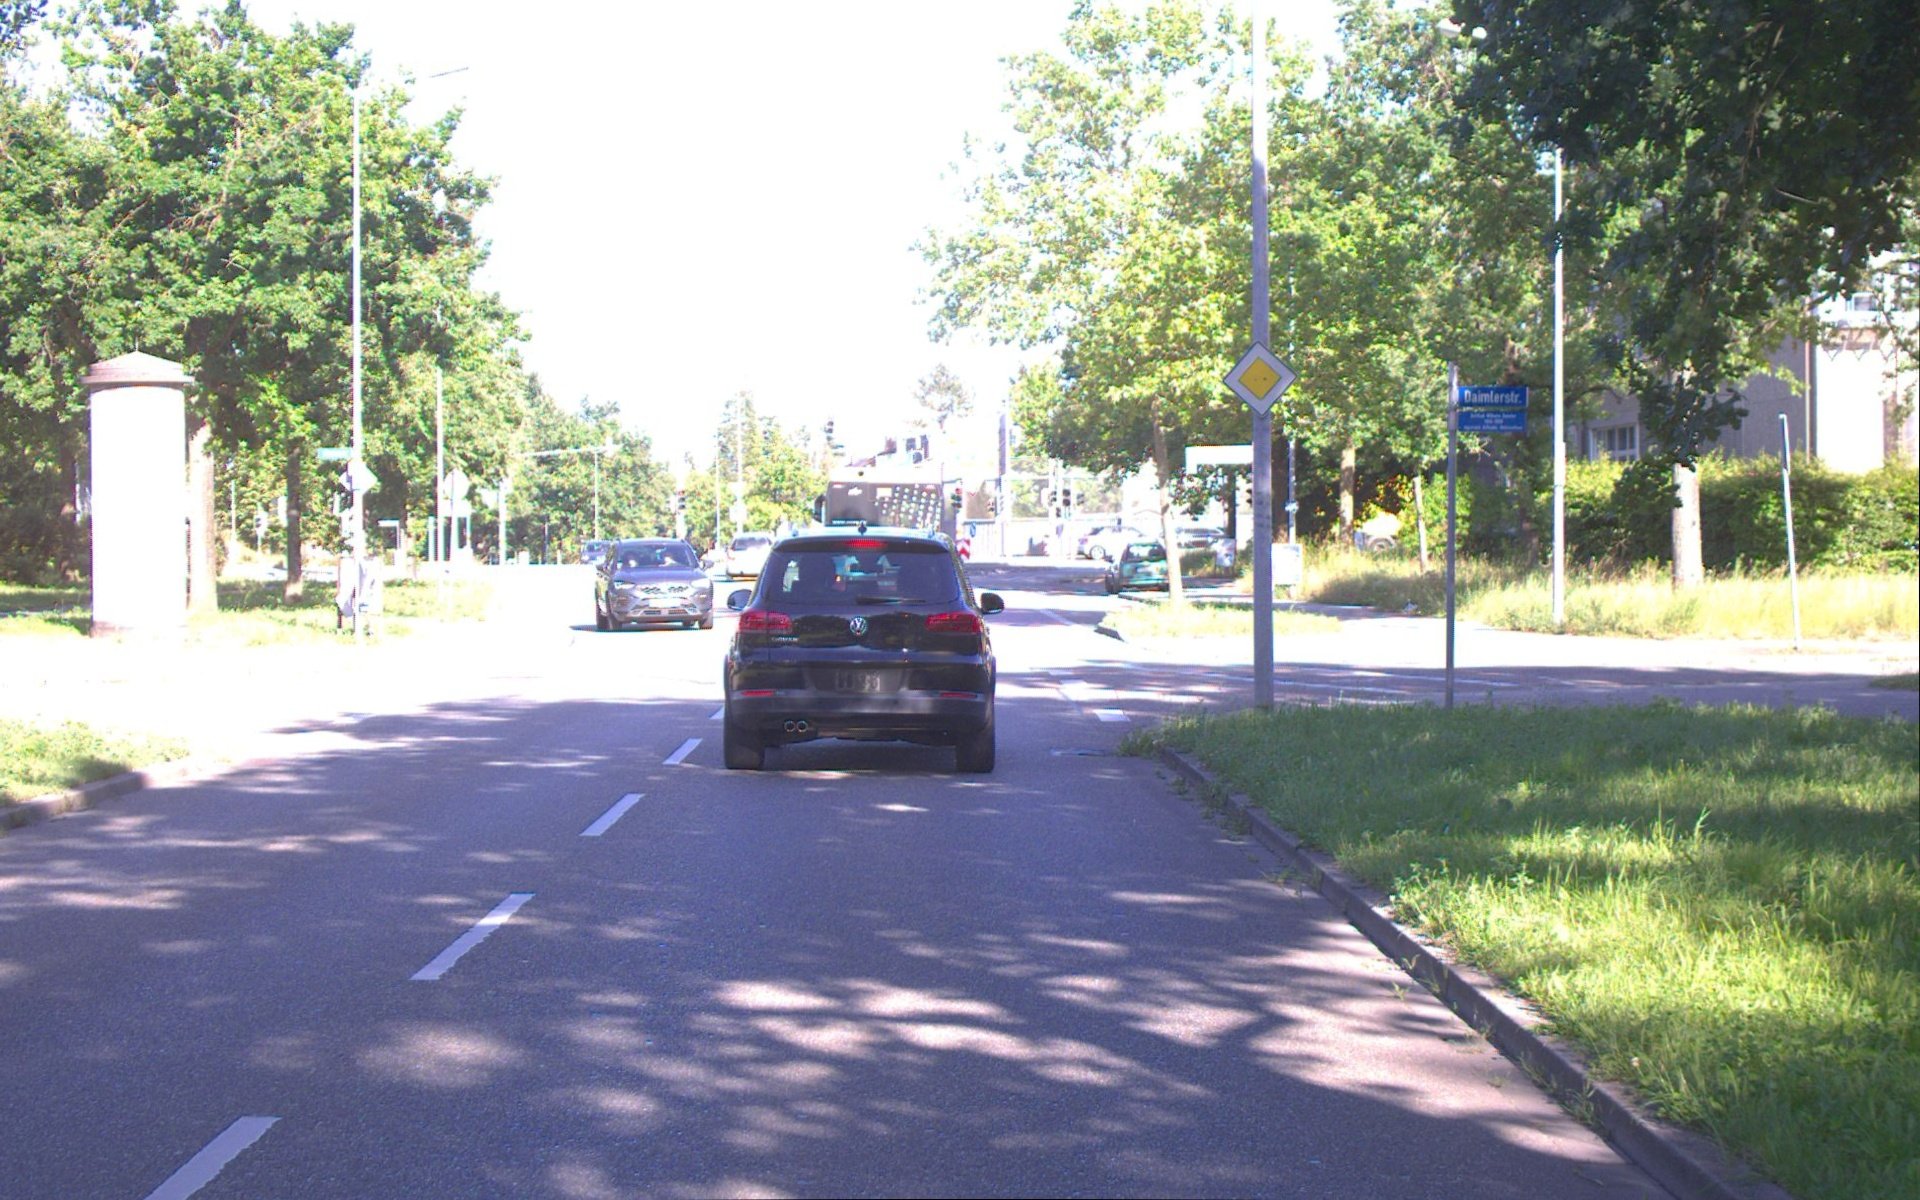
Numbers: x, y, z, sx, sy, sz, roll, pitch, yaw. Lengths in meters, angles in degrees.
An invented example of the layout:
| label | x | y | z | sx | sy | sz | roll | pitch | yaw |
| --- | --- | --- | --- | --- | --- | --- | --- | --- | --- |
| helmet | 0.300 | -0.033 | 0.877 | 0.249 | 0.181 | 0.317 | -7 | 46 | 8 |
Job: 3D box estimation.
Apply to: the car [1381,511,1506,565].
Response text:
| label | x | y | z | sx | sy | sz | roll | pitch | yaw |
| --- | --- | --- | --- | --- | --- | --- | --- | --- | --- |
| car | 19.636 | -2.526 | 139.671 | 4.700 | 2.116 | 1.942 | -1 | 1 | -6 |

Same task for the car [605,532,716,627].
| label | x | y | z | sx | sy | sz | roll | pitch | yaw |
| --- | --- | --- | --- | --- | --- | --- | --- | --- | --- |
| car | -5.207 | -0.362 | 60.173 | 1.753 | 1.590 | 4.299 | 1 | 0 | -3 |

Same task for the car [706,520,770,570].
| label | x | y | z | sx | sy | sz | roll | pitch | yaw |
| --- | --- | --- | --- | --- | --- | --- | --- | --- | --- |
| car | -7.293 | -1.787 | 112.629 | 1.753 | 1.615 | 4.034 | 0 | 1 | -9 |

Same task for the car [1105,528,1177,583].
| label | x | y | z | sx | sy | sz | roll | pitch | yaw |
| --- | --- | --- | --- | --- | --- | --- | --- | --- | --- |
| car | 4.963 | -1.228 | 94.584 | 1.592 | 1.424 | 4.204 | -2 | 1 | -2 |

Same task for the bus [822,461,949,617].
| label | x | y | z | sx | sy | sz | roll | pitch | yaw |
| --- | --- | --- | --- | --- | --- | --- | --- | --- | --- |
| bus | -1.850 | -1.456 | 80.512 | 2.596 | 3.323 | 11.985 | 1 | 1 | -3 |

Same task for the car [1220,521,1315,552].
| label | x | y | z | sx | sy | sz | roll | pitch | yaw |
| --- | --- | --- | --- | --- | --- | --- | --- | --- | --- |
| car | 13.732 | -2.834 | 153.559 | 3.891 | 1.335 | 1.683 | 1 | 0 | -11 |

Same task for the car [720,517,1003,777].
| label | x | y | z | sx | sy | sz | roll | pitch | yaw |
| --- | --- | --- | --- | --- | --- | --- | --- | --- | --- |
| car | -0.662 | 0.291 | 24.398 | 1.821 | 1.668 | 4.003 | 1 | 0 | -1 |

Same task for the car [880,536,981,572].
| label | x | y | z | sx | sy | sz | roll | pitch | yaw |
| --- | --- | --- | --- | --- | --- | --- | --- | --- | --- |
| car | -1.060 | -1.684 | 125.090 | 3.523 | 1.297 | 1.574 | 0 | 1 | 6 |
